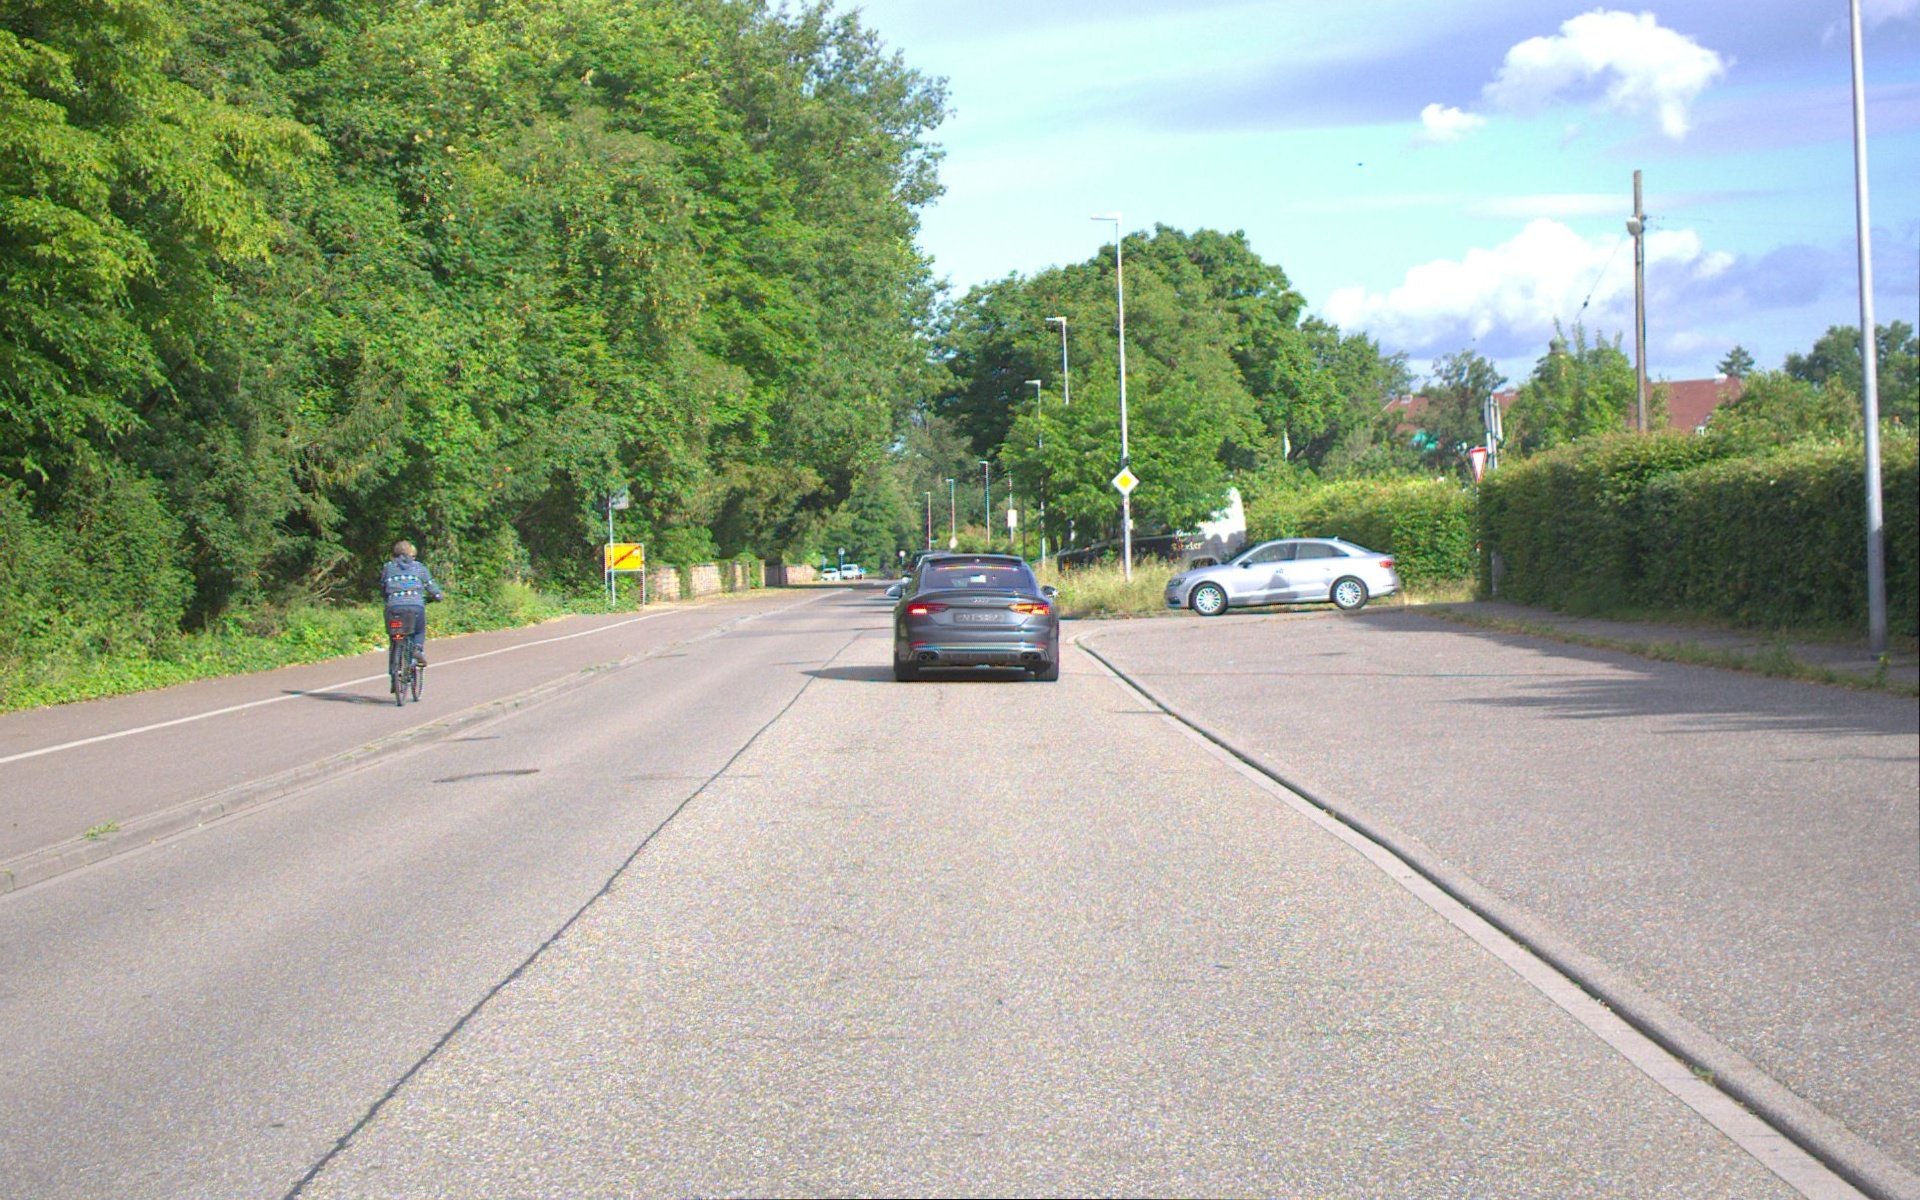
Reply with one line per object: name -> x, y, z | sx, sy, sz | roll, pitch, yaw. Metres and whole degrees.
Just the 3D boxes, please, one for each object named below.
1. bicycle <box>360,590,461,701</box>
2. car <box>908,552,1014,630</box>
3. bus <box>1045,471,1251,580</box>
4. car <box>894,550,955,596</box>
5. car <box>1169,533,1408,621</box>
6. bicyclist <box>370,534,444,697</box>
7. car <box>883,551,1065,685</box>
bicycle -> -5.719, 0.455, 35.891 | 0.662, 1.093, 2.348 | 0, 1, 0
car -> -0.015, -0.179, 64.674 | 1.886, 1.367, 4.055 | -2, 1, -1
bus -> 5.162, -2.056, 94.897 | 5.364, 2.737, 2.069 | -3, 1, -3
car -> -1.140, -0.861, 108.868 | 1.886, 1.367, 4.055 | -2, 1, -1
car -> 6.201, -0.433, 64.859 | 4.363, 1.438, 1.932 | -2, 0, 7
bicyclist -> -5.715, 0.153, 35.559 | 0.608, 1.671, 0.884 | 0, 1, 0
car -> 0.174, 0.160, 39.349 | 1.966, 1.429, 4.336 | 0, 1, 1
